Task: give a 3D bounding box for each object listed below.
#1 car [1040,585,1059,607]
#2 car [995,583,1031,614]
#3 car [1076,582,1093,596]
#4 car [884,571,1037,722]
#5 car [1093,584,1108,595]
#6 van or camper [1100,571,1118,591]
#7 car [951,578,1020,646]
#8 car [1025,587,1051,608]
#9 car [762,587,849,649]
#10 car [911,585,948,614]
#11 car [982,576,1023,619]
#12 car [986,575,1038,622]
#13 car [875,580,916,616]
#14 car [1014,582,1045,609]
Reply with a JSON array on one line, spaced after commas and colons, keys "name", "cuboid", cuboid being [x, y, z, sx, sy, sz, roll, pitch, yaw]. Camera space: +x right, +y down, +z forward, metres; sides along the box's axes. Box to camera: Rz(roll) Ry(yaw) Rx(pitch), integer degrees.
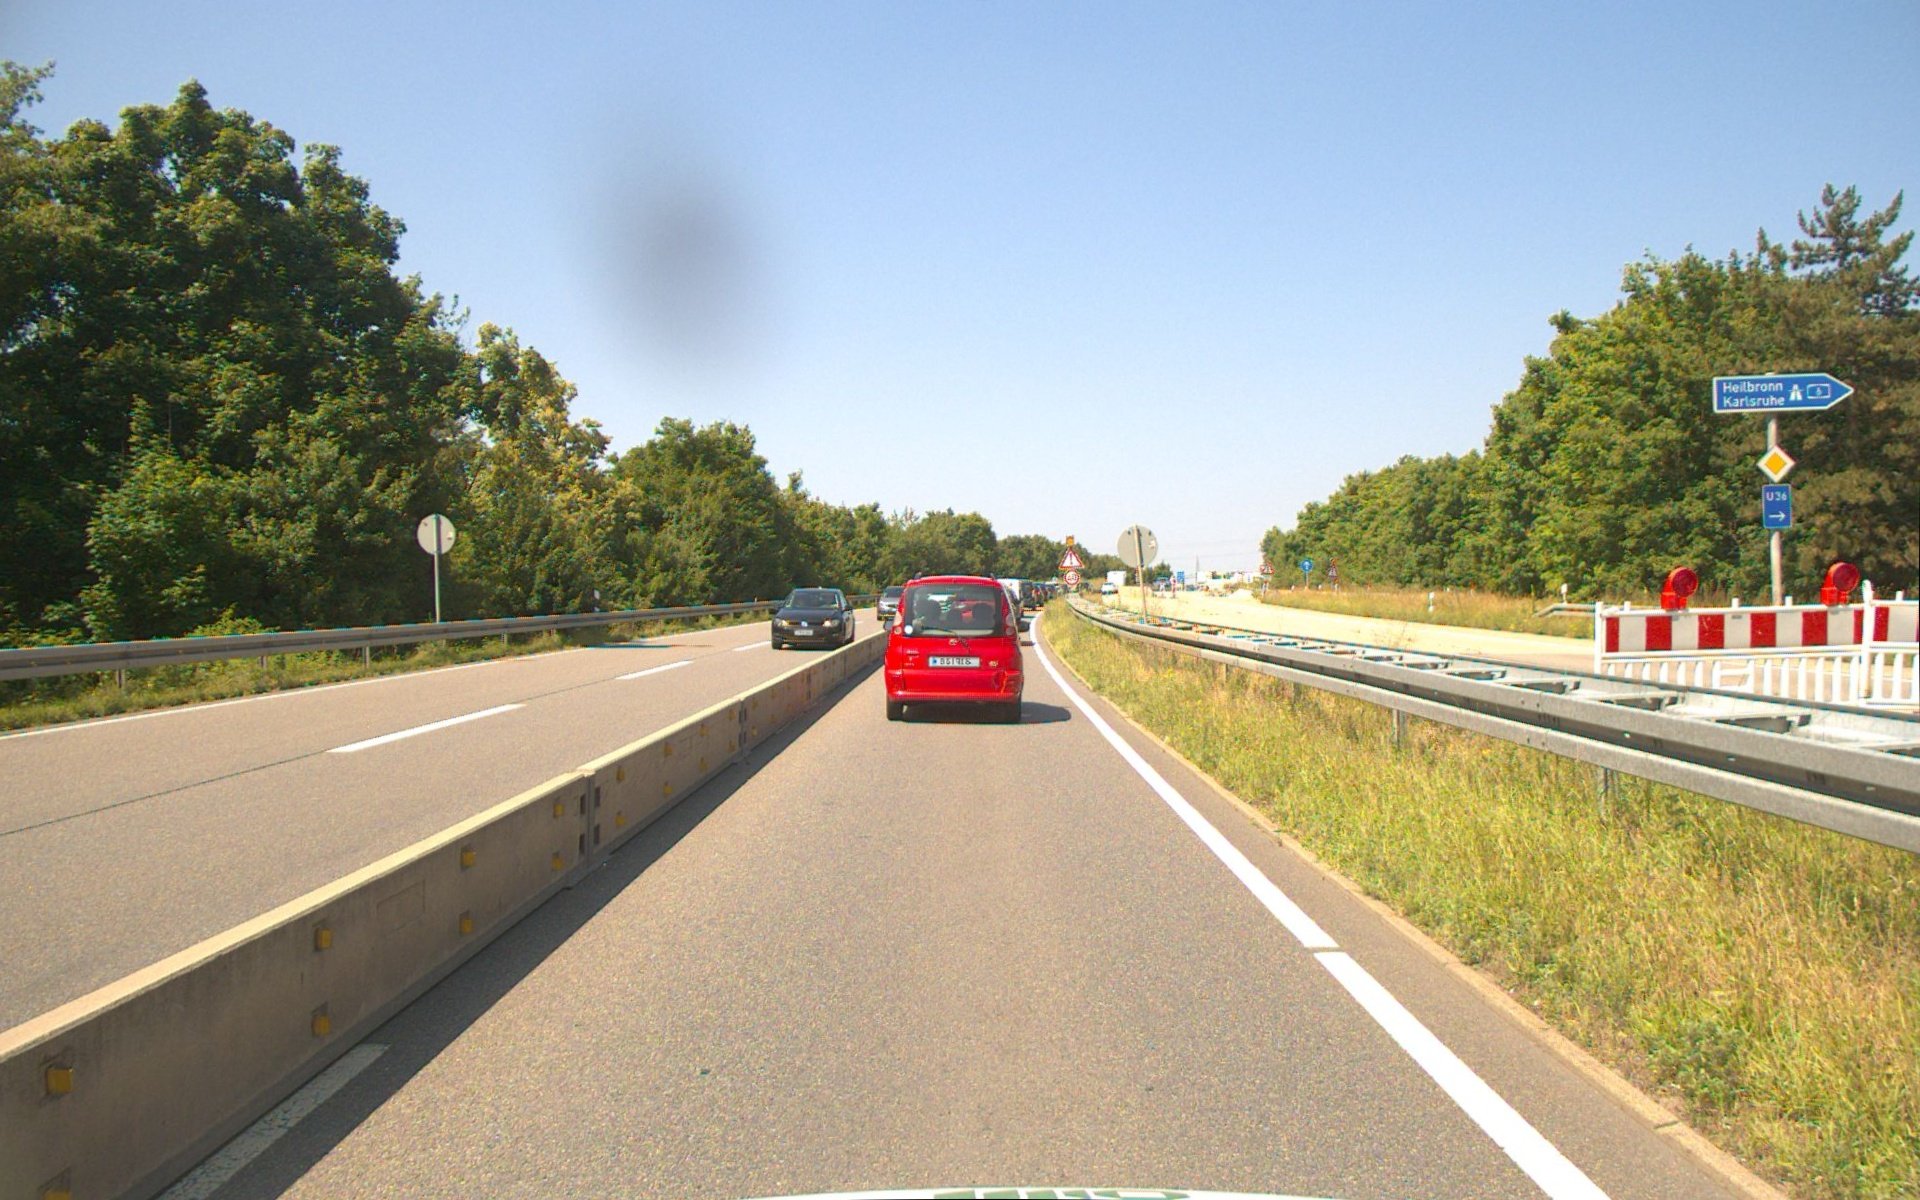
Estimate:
[{"name": "car", "cuboid": [7.519, -0.346, 139.169, 1.470, 1.767, 3.172, 1, 0, 5]}, {"name": "car", "cuboid": [3.117, -0.090, 98.377, 1.953, 1.780, 3.999, 0, 1, -1]}, {"name": "car", "cuboid": [14.153, -1.246, 188.390, 1.951, 1.579, 4.002, -1, 0, 4]}, {"name": "car", "cuboid": [0.006, 0.510, 20.656, 1.716, 1.702, 4.000, 0, 0, 0]}, {"name": "car", "cuboid": [18.858, -1.438, 222.342, 1.952, 1.512, 4.002, -1, 0, 3]}, {"name": "van or camper", "cuboid": [21.079, -2.682, 234.481, 2.279, 2.754, 4.595, -1, 0, 2]}, {"name": "car", "cuboid": [0.656, 0.299, 45.083, 1.793, 1.752, 4.000, 0, 0, 0]}, {"name": "car", "cuboid": [6.039, -0.191, 128.376, 1.952, 1.612, 4.001, 0, 0, 2]}, {"name": "car", "cuboid": [-3.760, 0.418, 40.763, 1.778, 1.449, 4.108, 0, 0, 0]}, {"name": "car", "cuboid": [-1.704, -0.039, 93.357, 1.908, 1.565, 4.436, 0, 0, 1]}, {"name": "car", "cuboid": [2.090, -0.126, 81.141, 1.952, 2.038, 4.001, 0, 0, 2]}, {"name": "car", "cuboid": [2.121, -0.067, 68.481, 1.953, 1.870, 3.999, 0, 0, -1]}, {"name": "car", "cuboid": [-2.816, -0.097, 72.595, 1.689, 1.522, 4.388, 0, 0, -1]}, {"name": "car", "cuboid": [4.782, -0.307, 113.646, 1.953, 1.814, 4.000, 0, 0, 0]}]
